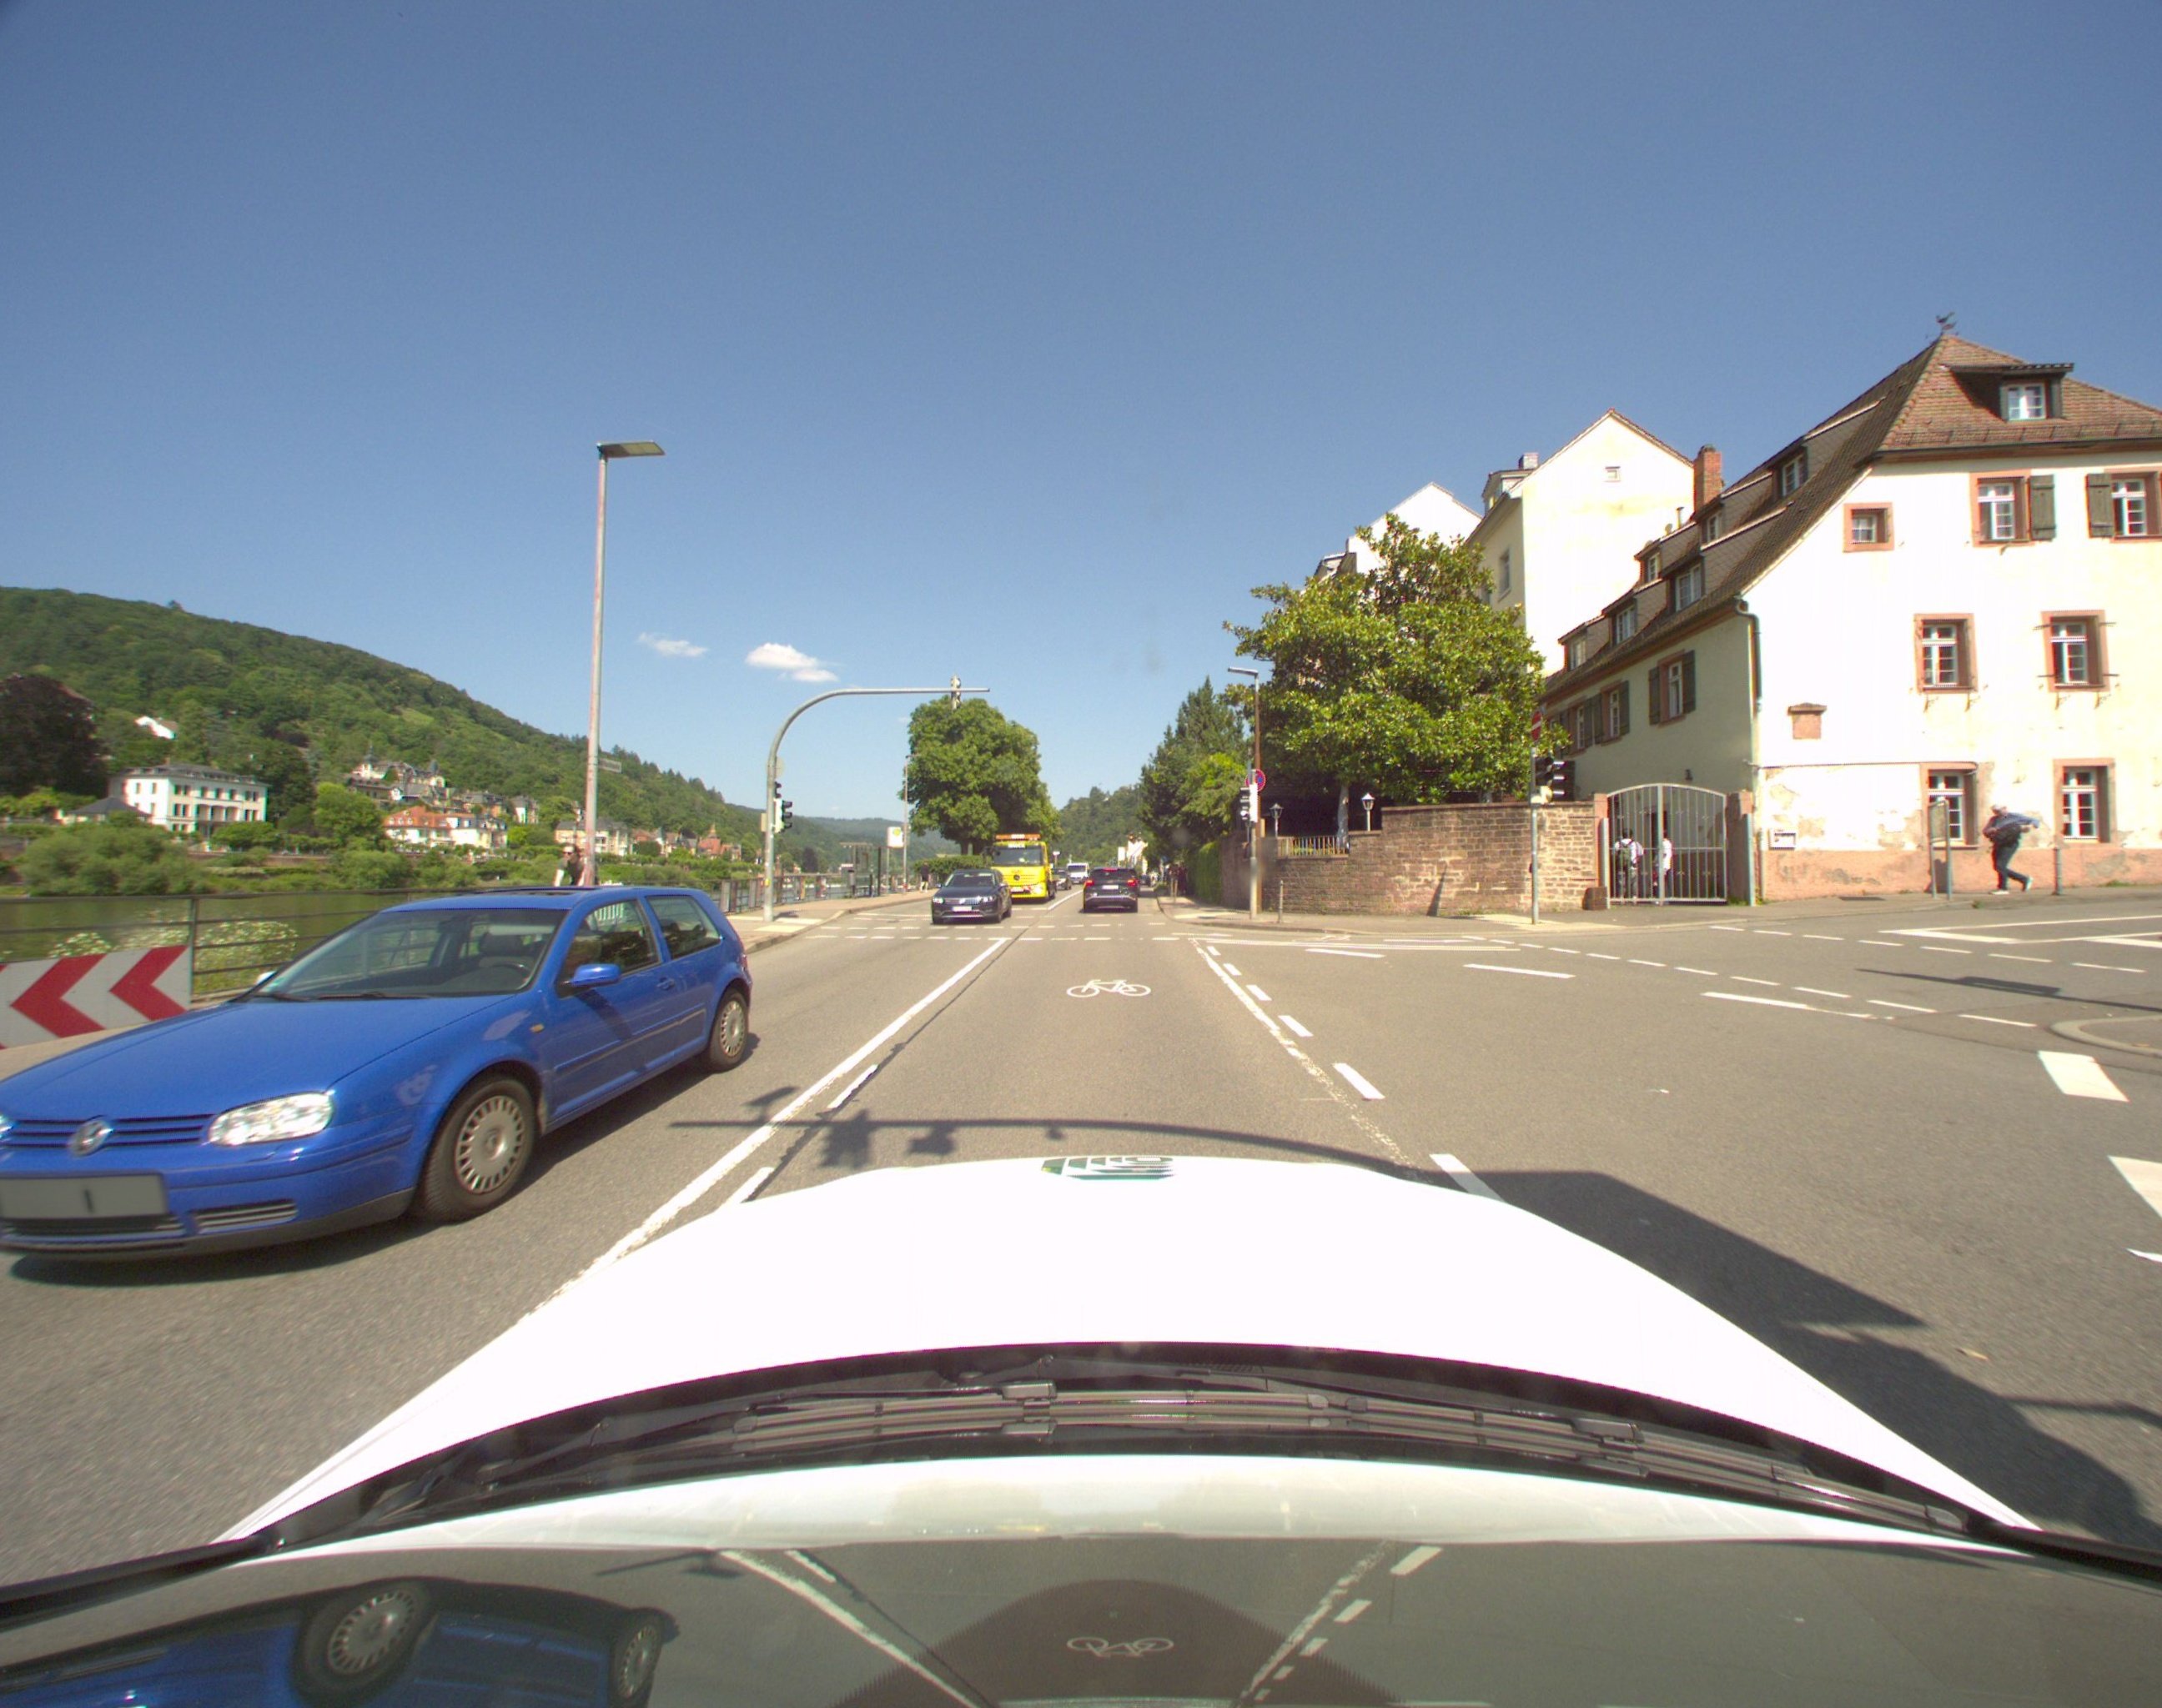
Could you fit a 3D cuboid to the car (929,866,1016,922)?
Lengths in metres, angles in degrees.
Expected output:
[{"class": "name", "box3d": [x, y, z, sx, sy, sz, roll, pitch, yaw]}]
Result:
[{"class": "car", "box3d": [-3.000, 1.071, 23.381, 1.802, 1.406, 4.357, -1, -1, 1]}]

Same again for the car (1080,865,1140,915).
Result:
[{"class": "car", "box3d": [1.059, 1.182, 27.602, 1.848, 1.524, 4.004, -1, -1, 4]}]

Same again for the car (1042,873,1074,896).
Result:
[{"class": "car", "box3d": [-1.528, 2.029, 55.234, 1.808, 1.398, 4.350, -1, 0, 3]}]

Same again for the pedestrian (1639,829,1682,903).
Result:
[{"class": "pedestrian", "box3d": [13.691, 0.291, 19.255, 0.699, 1.706, 0.730, -2, -1, 30]}]

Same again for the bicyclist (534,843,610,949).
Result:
[{"class": "bicyclist", "box3d": [-8.180, 0.658, 13.138, 0.666, 1.632, 0.977, -1, -1, -7]}]

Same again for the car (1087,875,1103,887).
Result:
[{"class": "car", "box3d": [1.904, 3.647, 109.541, 1.891, 1.490, 3.798, -1, -2, 3]}]

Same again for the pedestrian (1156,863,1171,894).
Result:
[{"class": "pedestrian", "box3d": [4.378, 1.312, 43.412, 0.732, 1.634, 0.921, -1, -1, 3]}]

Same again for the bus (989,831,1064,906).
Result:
[{"class": "bus", "box3d": [-2.239, 0.618, 36.480, 2.588, 2.896, 8.447, -2, -1, 1]}]

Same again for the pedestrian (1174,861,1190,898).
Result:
[{"class": "pedestrian", "box3d": [4.945, 1.247, 39.976, 0.678, 1.742, 0.914, -1, 0, 3]}]

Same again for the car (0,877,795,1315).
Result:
[{"class": "car", "box3d": [-3.460, 0.934, 5.101, 1.723, 1.491, 4.325, -1, -1, 1]}]

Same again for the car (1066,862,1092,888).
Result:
[{"class": "car", "box3d": [-0.147, 1.930, 77.293, 2.087, 2.302, 5.873, -1, 0, 3]}]

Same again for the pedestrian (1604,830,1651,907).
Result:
[{"class": "pedestrian", "box3d": [12.462, 0.338, 18.589, 0.716, 1.706, 0.712, -2, -1, 25]}]

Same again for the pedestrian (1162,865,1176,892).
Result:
[{"class": "pedestrian", "box3d": [5.407, 1.501, 50.191, 0.725, 1.650, 0.883, -3, -1, 3]}]

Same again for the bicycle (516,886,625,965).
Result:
[{"class": "bicycle", "box3d": [-8.166, 1.096, 13.125, 0.666, 1.113, 2.029, -1, -1, -7]}]

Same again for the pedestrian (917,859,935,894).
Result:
[{"class": "pedestrian", "box3d": [-8.735, 1.267, 46.014, 0.750, 1.918, 1.010, -1, -3, 3]}]

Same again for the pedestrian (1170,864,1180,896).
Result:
[{"class": "pedestrian", "box3d": [4.797, 1.317, 41.591, 0.453, 1.606, 0.580, -1, -1, 3]}]

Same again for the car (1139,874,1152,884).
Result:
[{"class": "car", "box3d": [10.196, 3.989, 128.098, 1.985, 1.453, 4.012, -1, -3, 4]}]

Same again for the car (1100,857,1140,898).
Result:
[{"class": "car", "box3d": [2.015, 1.261, 42.530, 1.986, 2.014, 4.001, -1, -3, 2]}]

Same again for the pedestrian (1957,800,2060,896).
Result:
[{"class": "pedestrian", "box3d": [18.078, -0.111, 15.894, 0.919, 1.793, 0.865, -3, -1, 5]}]
